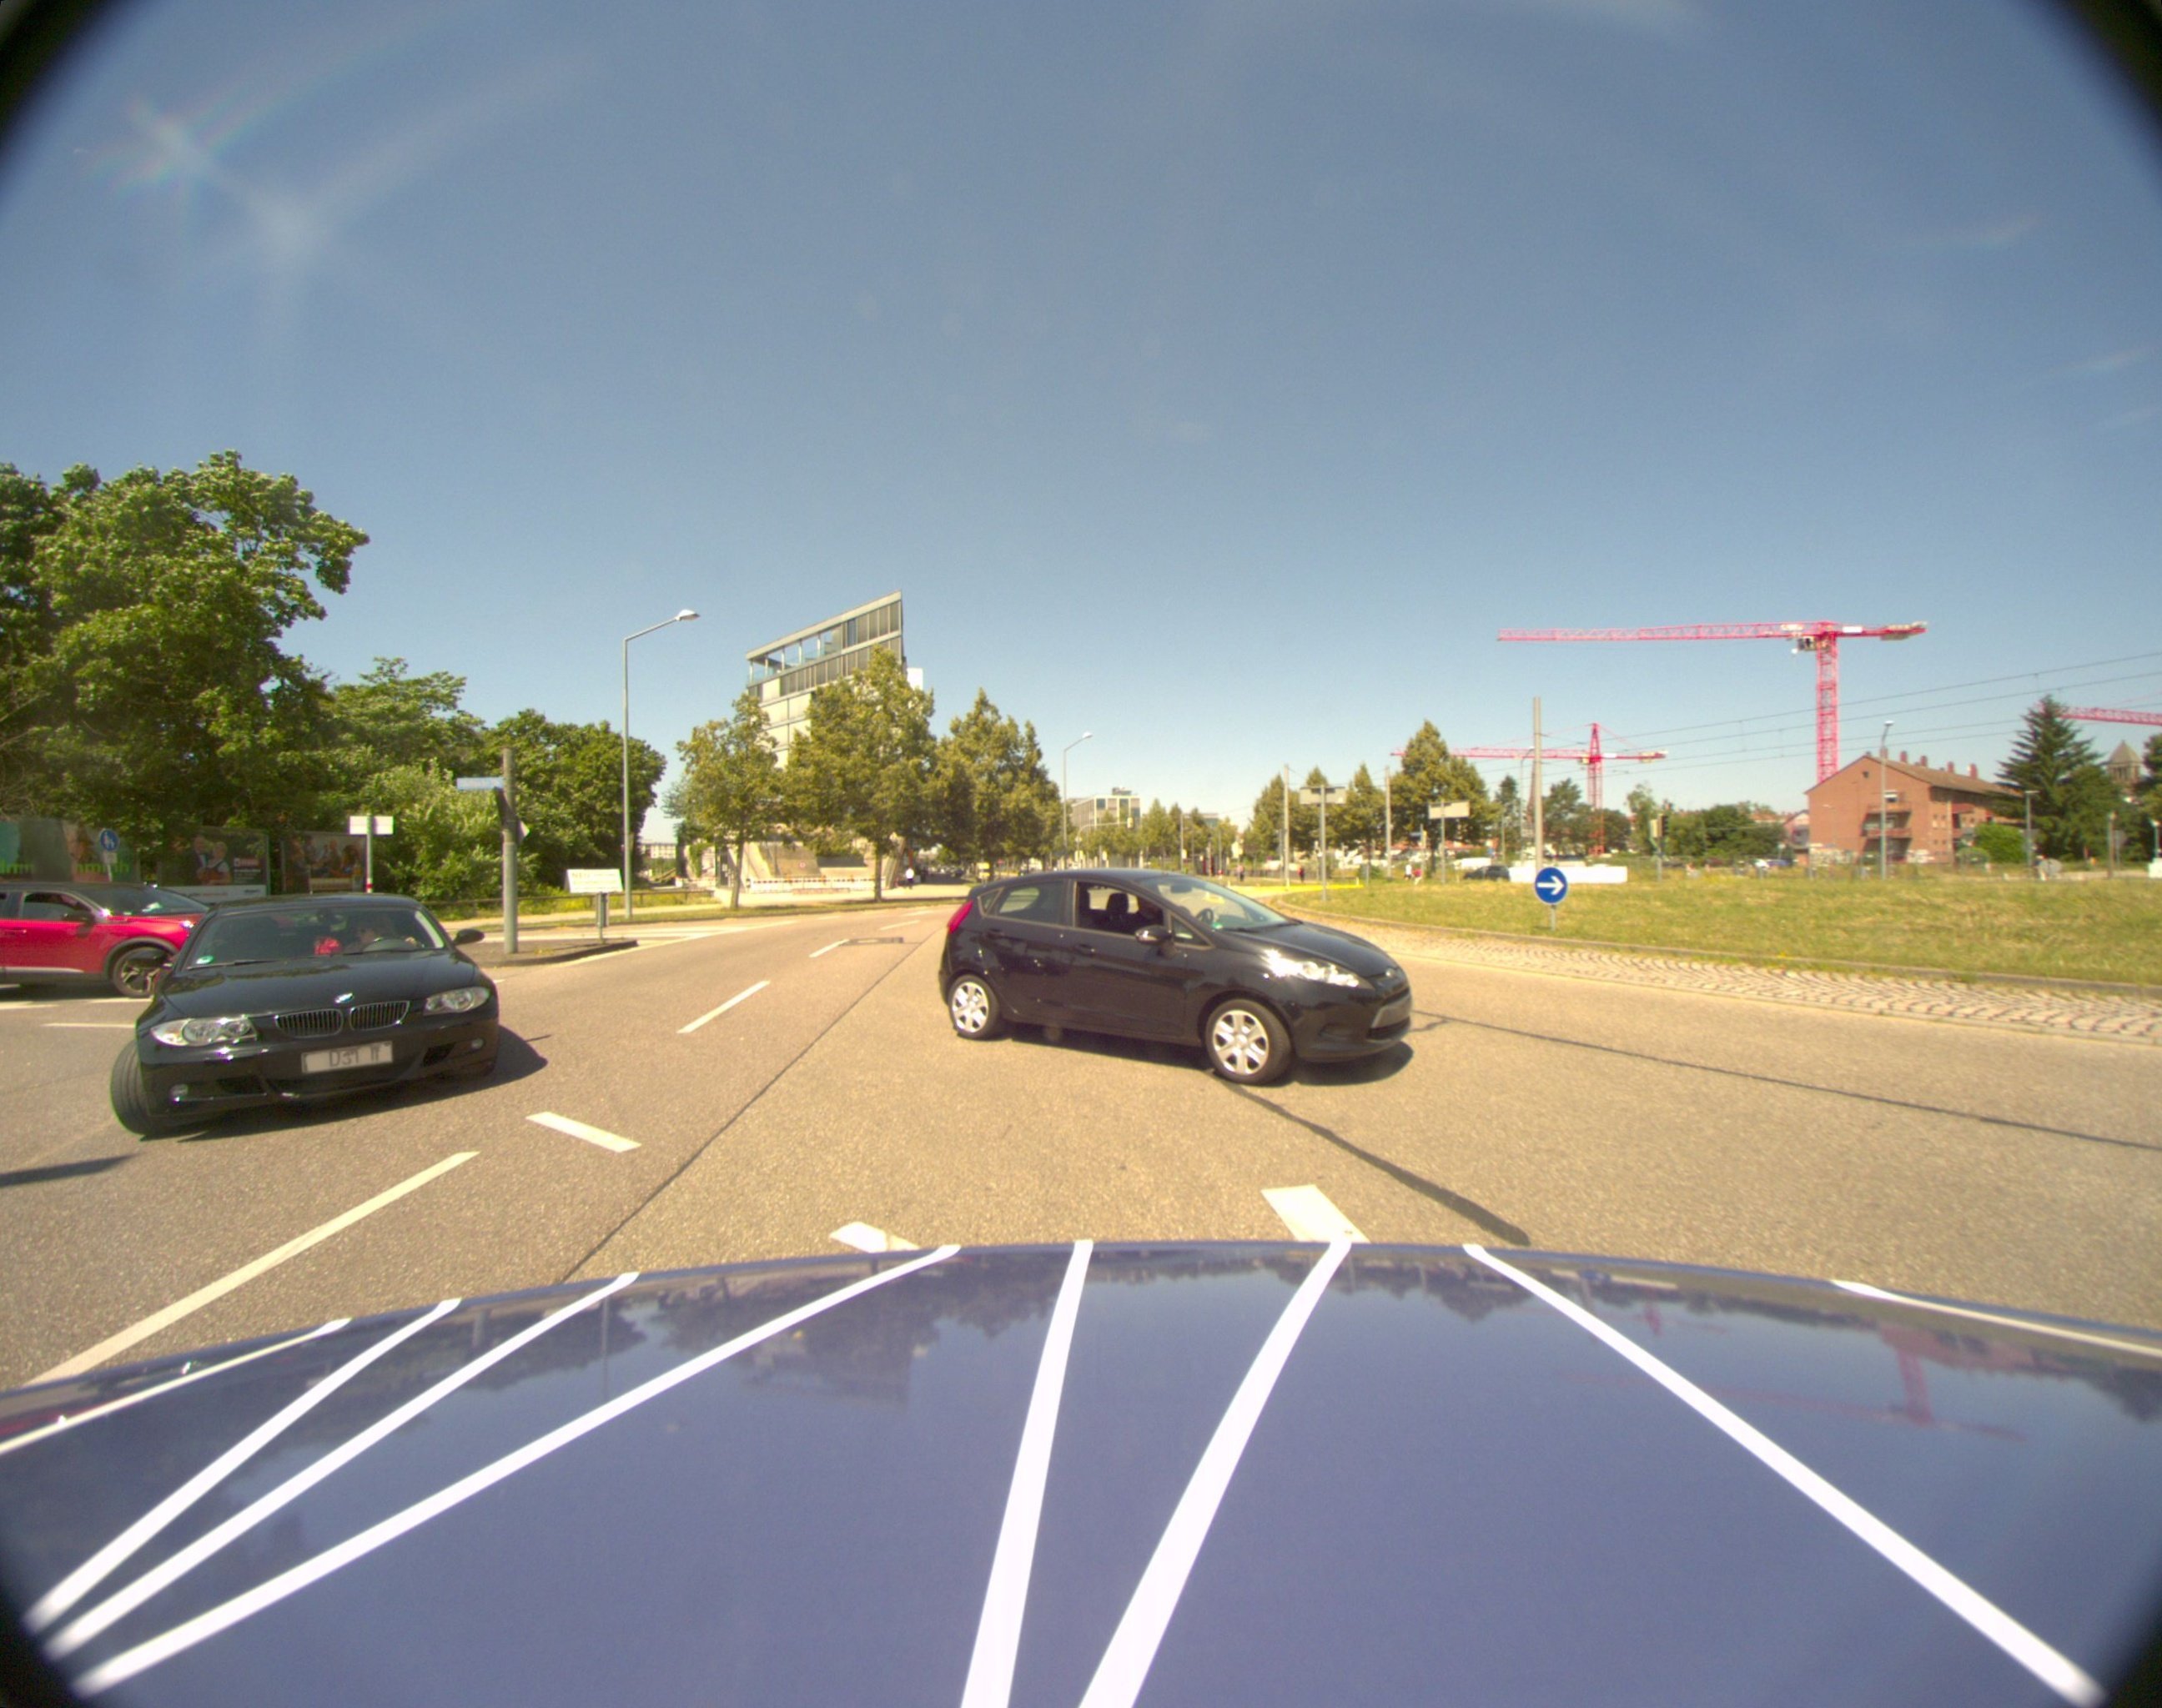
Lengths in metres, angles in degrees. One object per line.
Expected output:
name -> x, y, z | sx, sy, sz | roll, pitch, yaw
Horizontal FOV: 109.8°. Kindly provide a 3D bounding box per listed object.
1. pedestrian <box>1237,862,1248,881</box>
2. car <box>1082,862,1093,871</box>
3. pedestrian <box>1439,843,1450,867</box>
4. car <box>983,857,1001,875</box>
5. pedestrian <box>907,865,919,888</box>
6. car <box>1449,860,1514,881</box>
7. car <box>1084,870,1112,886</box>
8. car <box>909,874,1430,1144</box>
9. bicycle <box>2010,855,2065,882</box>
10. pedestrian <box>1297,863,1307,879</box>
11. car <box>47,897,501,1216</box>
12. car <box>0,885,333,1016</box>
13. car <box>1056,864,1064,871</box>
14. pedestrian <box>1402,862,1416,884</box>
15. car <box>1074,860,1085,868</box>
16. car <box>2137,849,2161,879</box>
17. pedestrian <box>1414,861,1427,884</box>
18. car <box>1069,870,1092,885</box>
pedestrian -> 13.742, 1.480, 64.759 | 0.760, 1.630, 0.781 | 0, 1, 0
car -> 1.613, 3.124, 190.088 | 2.001, 2.002, 3.896 | 0, 1, -14
pedestrian -> 31.373, 0.079, 65.517 | 0.595, 2.002, 0.602 | 0, 1, -12
car -> -12.613, 1.720, 107.521 | 2.001, 2.493, 3.995 | -1, -1, -15
pedestrian -> -14.036, 1.876, 63.530 | 0.834, 1.858, 0.611 | 0, 1, 2
car -> 31.028, 1.242, 58.921 | 2.004, 1.456, 3.988 | -1, 1, -43
car -> 1.434, 2.028, 65.960 | 1.741, 1.205, 3.562 | 0, 1, -10
car -> 0.552, 0.933, 6.093 | 3.808, 1.499, 1.637 | -1, 0, 36
bicycle -> 61.695, 0.903, 49.026 | 2.079, 1.675, 0.561 | 1, 2, 41
pedestrian -> 19.449, 1.532, 66.876 | 0.597, 1.398, 0.543 | -1, 0, -3
car -> -6.002, 1.149, 5.913 | 3.989, 1.432, 1.806 | -1, 0, 45
car -> -13.353, 1.256, 10.344 | 4.213, 1.518, 1.719 | -1, 0, -13
car -> -6.514, 4.105, 233.619 | 2.000, 2.002, 3.995 | 0, 1, -11
pedestrian -> 27.981, 1.608, 64.824 | 0.814, 1.887, 0.732 | 0, 1, -1
car -> -0.431, 2.656, 202.342 | 2.001, 2.002, 3.896 | 0, 1, -14
car -> 73.993, 0.685, 51.528 | 4.005, 2.002, 1.995 | 0, 1, -25
pedestrian -> 28.940, 1.582, 64.843 | 0.746, 2.002, 0.732 | 0, 1, -1
car -> -0.053, 2.197, 71.640 | 1.577, 1.218, 3.319 | 0, 1, -10
